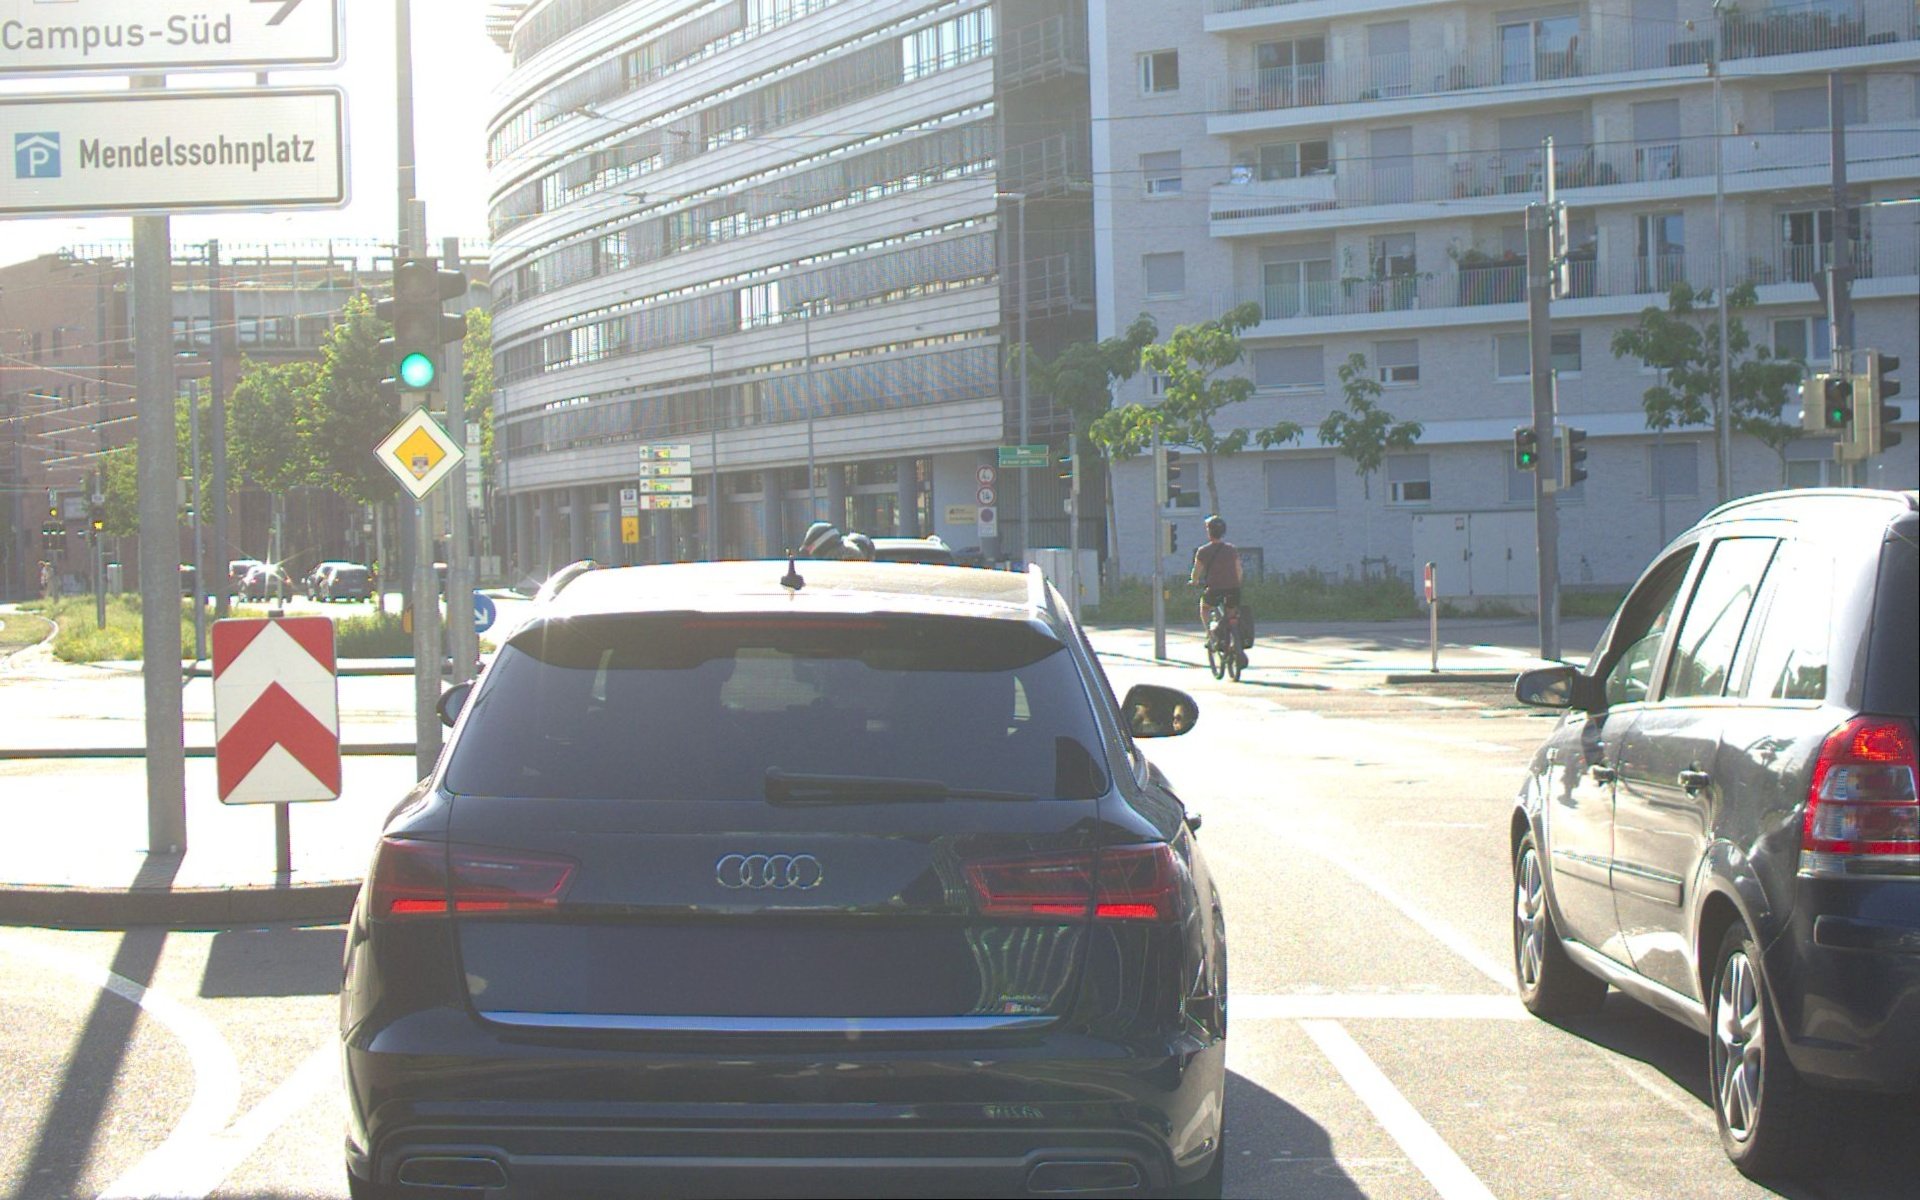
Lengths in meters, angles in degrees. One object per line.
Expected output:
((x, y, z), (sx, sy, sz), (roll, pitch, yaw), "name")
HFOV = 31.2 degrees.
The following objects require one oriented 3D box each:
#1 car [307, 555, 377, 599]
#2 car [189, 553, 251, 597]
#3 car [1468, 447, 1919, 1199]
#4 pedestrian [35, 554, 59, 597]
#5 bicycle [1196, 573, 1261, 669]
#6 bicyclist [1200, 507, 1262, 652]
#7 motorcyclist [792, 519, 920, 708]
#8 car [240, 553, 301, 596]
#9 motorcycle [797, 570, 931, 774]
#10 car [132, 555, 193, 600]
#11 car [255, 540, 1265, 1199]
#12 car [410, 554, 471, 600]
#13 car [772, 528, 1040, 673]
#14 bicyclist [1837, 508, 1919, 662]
((-23.948, -0.895, 133.151), (1.993, 1.590, 4.001), (-2, 0, -19), "car")
((-30.424, -1.008, 141.310), (1.993, 1.700, 4.001), (-2, 0, -19), "car")
((2.603, 0.513, 9.300), (1.745, 1.690, 4.261), (1, 1, -1), "car")
((-39.506, -1.066, 148.816), (0.902, 1.818, 0.829), (-2, 0, -17), "pedestrian")
((3.090, 0.227, 39.664), (0.654, 1.039, 1.929), (-1, 1, 2), "bicycle")
((3.121, -0.249, 39.654), (0.654, 1.637, 0.972), (-1, 1, 3), "bicyclist")
((-0.753, 0.090, 24.723), (0.862, 1.322, 0.681), (-1, 1, -4), "motorcyclist")
((-27.205, -0.991, 135.561), (1.993, 1.590, 4.001), (-2, 0, -16), "car")
((-0.710, 0.491, 24.807), (0.862, 1.388, 1.894), (-1, 1, -4), "motorcycle")
((-32.618, -0.900, 140.488), (1.993, 1.700, 4.001), (-2, 0, -19), "car")
((-0.404, 0.593, 8.304), (1.842, 1.449, 4.000), (0, 1, -1), "car")
((-21.986, -0.951, 145.392), (1.993, 1.831, 4.001), (-2, 0, -16), "car")
((-0.744, -0.038, 42.974), (2.002, 1.709, 4.373), (0, 1, -20), "car")
((10.457, -0.176, 38.637), (0.766, 1.700, 0.930), (-1, 1, -17), "bicyclist")
